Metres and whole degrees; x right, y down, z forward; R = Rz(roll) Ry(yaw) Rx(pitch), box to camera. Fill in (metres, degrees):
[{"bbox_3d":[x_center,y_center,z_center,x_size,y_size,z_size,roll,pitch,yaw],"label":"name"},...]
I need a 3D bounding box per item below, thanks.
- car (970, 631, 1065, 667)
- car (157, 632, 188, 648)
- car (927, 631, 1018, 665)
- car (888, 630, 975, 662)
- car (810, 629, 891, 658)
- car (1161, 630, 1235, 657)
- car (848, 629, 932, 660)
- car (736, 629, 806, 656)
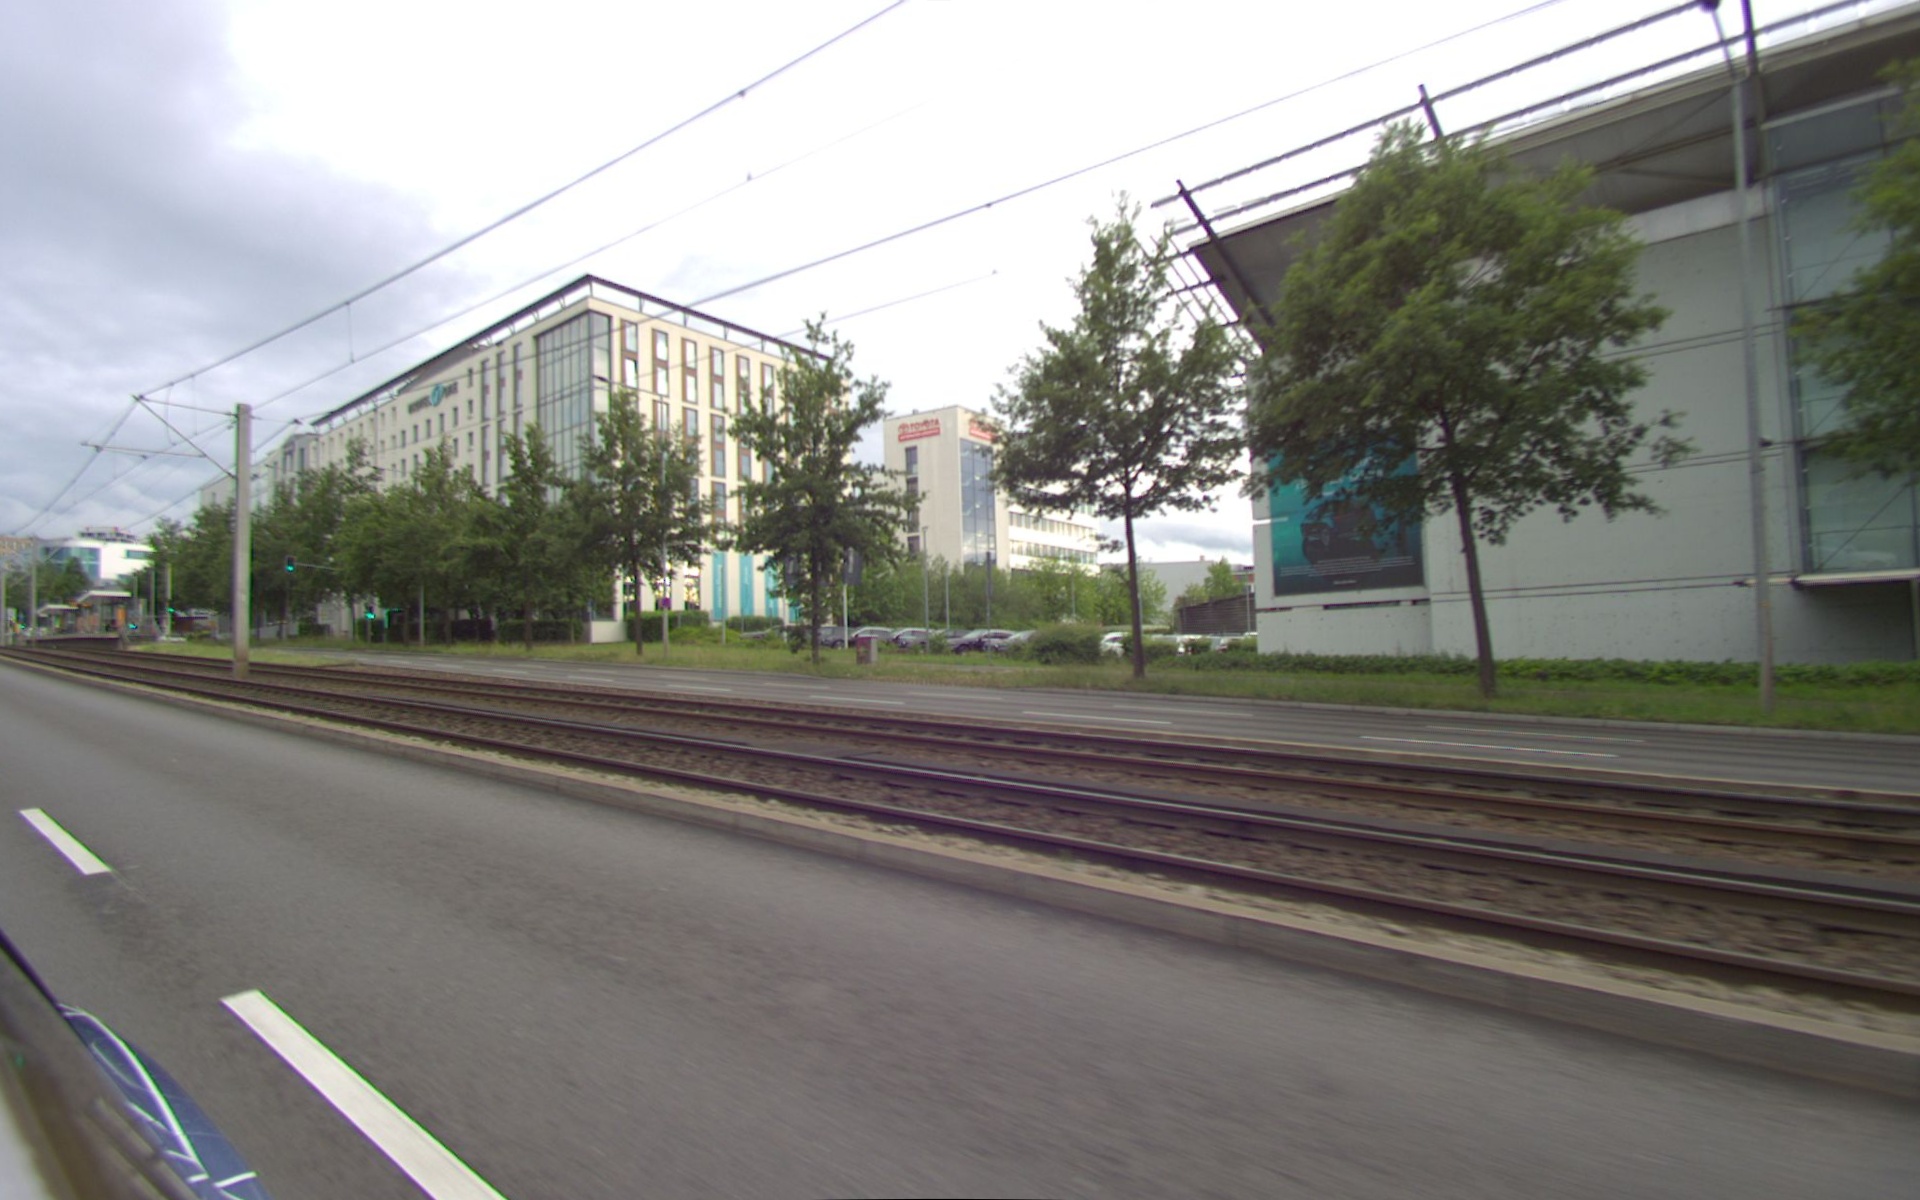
[{"bbox_3d":[2.637,2.207,46.111,3.931,1.401,1.809,-1,0,-26],"label":"car"},{"bbox_3d":[-71.828,3.603,92.316,3.818,1.375,1.678,-2,-5,44],"label":"car"},{"bbox_3d":[0.591,2.233,48.015,3.931,1.401,1.809,-1,0,-22],"label":"car"},{"bbox_3d":[-1.412,2.258,50.251,3.931,1.401,1.809,-1,0,-22],"label":"car"},{"bbox_3d":[-5.884,2.316,54.343,3.931,1.401,1.809,-1,0,-22],"label":"car"},{"bbox_3d":[14.225,2.588,60.507,3.931,1.401,1.809,-1,0,-18],"label":"car"},{"bbox_3d":[-3.611,2.286,52.229,3.931,1.401,1.770,-1,0,-22],"label":"car"},{"bbox_3d":[-11.013,2.449,58.864,3.934,1.401,1.808,-1,0,-12],"label":"car"}]
